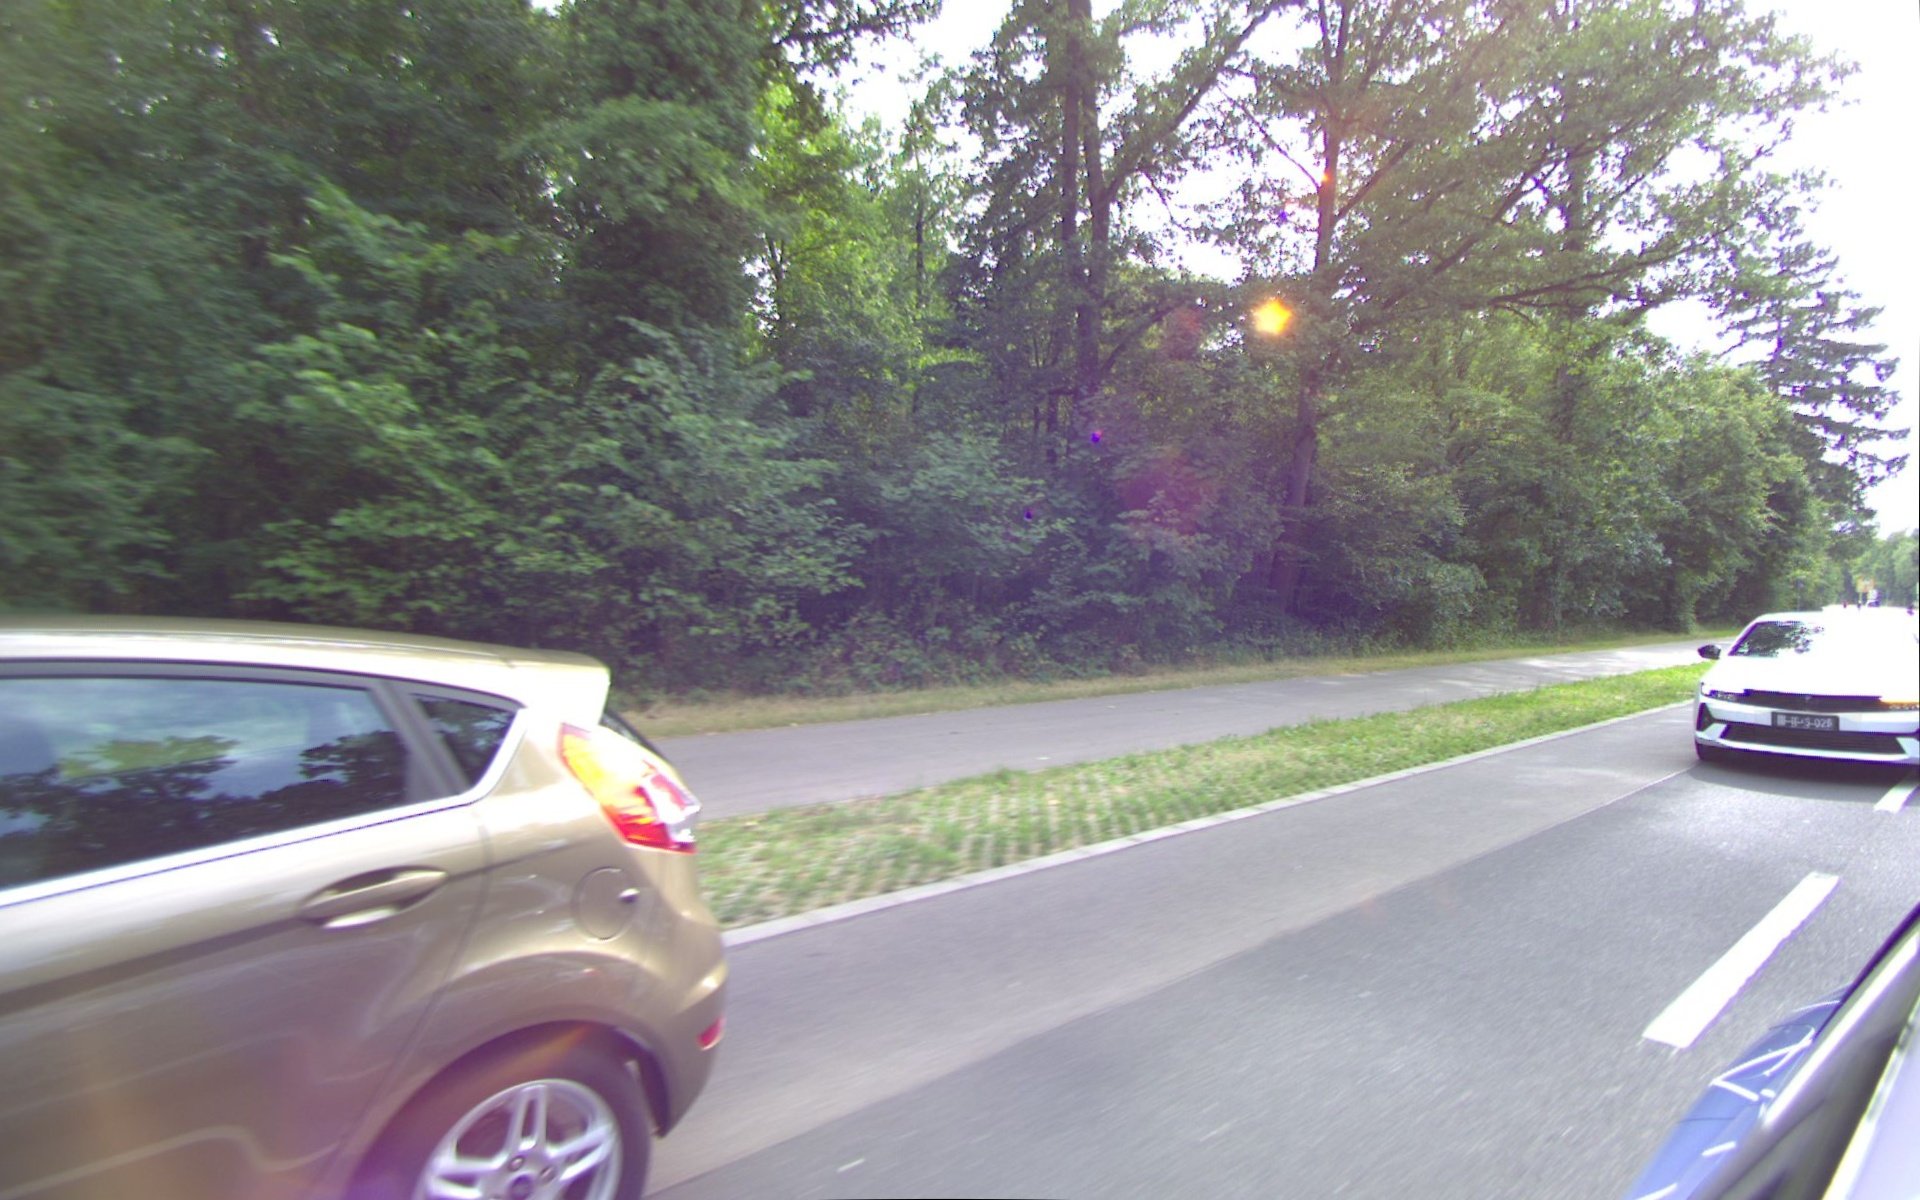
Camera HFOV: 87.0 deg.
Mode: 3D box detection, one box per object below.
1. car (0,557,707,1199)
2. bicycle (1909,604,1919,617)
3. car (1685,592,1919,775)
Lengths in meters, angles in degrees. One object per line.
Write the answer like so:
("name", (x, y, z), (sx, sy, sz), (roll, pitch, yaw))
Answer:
("car", (-2.578, 0.681, 1.572), (3.931, 1.438, 1.637), (-1, 0, -42))
("bicycle", (72.355, 0.788, 75.590), (2.175, 1.006, 0.700), (1, 1, 45))
("car", (8.796, 0.696, 10.015), (4.415, 1.428, 1.838), (1, 0, -44))
